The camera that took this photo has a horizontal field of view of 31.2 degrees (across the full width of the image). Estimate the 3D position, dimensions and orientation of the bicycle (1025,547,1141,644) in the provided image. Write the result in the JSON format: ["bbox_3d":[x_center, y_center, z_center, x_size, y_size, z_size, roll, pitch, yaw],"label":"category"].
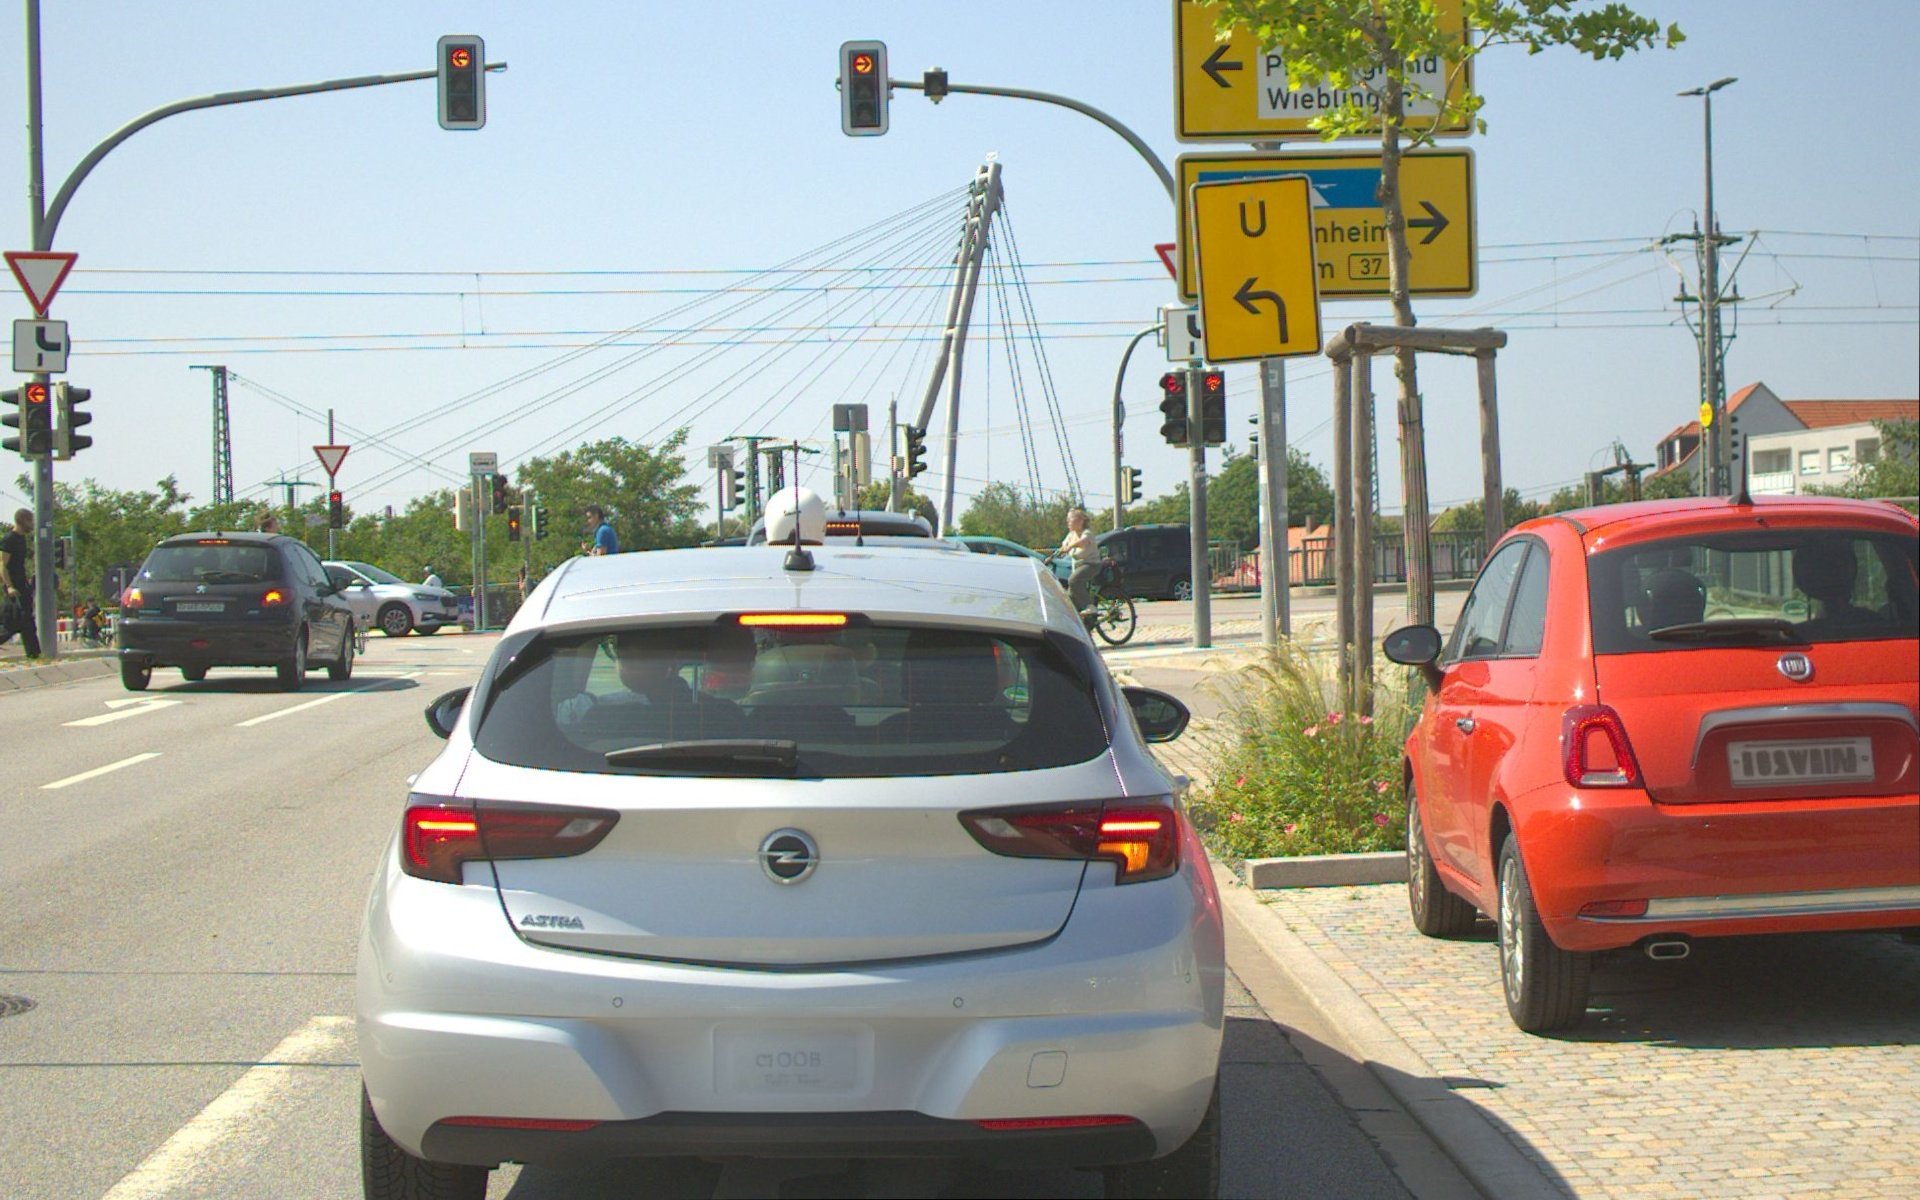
[{"bbox_3d":[1.491,-0.050,41.201,0.676,1.123,2.363,1,0,20],"label":"bicycle"}]

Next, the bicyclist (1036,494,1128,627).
[{"bbox_3d":[1.458,-0.472,41.074,0.821,1.563,0.947,1,0,20],"label":"bicyclist"}]

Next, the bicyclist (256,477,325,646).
[{"bbox_3d":[-7.527,-0.433,38.660,0.594,1.881,0.636,1,0,4],"label":"bicyclist"}]

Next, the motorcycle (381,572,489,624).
[{"bbox_3d":[-12.910,-0.052,84.548,2.536,1.229,0.648,1,0,-1],"label":"motorcycle"}]

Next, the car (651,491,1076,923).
[{"bbox_3d":[-0.419,0.410,15.389,1.634,1.668,3.745,1,0,-1],"label":"car"}]

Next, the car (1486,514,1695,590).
[{"bbox_3d":[14.388,-1.084,78.482,4.244,1.668,2.001,0,1,-17],"label":"car"}]

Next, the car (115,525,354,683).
[{"bbox_3d":[-6.731,0.028,32.176,1.587,1.390,3.340,0,0,-1],"label":"car"}]

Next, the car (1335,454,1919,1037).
[{"bbox_3d":[2.345,0.370,11.267,1.669,1.534,3.917,-2,0,-1],"label":"car"}]

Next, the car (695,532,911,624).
[{"bbox_3d":[-2.759,-0.388,60.913,3.747,1.578,1.814,0,0,-1],"label":"car"}]

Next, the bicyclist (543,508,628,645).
[{"bbox_3d":[-4.319,-0.269,39.704,0.822,1.554,0.863,1,0,3],"label":"bicyclist"}]

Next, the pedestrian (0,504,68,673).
[{"bbox_3d":[-10.378,-0.127,38.255,0.740,1.857,0.754,1,0,-5],"label":"pedestrian"}]

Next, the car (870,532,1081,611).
[{"bbox_3d":[0.272,-0.545,64.073,3.789,1.357,1.533,-1,1,-4],"label":"car"}]

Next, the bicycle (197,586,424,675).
[{"bbox_3d":[-7.471,0.346,39.592,2.504,1.003,0.605,0,1,0],"label":"bicycle"}]

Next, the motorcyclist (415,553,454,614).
[{"bbox_3d":[-12.917,-0.406,84.560,0.809,1.471,0.885,1,0,0],"label":"motorcyclist"}]

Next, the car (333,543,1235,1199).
[{"bbox_3d":[-0.372,0.617,8.591,1.690,1.514,4.271,0,1,-1],"label":"car"}]

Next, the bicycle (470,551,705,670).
[{"bbox_3d":[-4.291,0.118,39.706,2.524,1.130,0.728,-5,3,3],"label":"bicycle"}]

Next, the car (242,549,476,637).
[{"bbox_3d":[-11.237,-0.130,64.409,3.975,1.546,1.675,-1,0,6],"label":"car"}]

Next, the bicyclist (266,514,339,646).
[{"bbox_3d":[-7.570,-0.233,39.616,0.657,1.497,0.844,1,0,1],"label":"bicyclist"}]
